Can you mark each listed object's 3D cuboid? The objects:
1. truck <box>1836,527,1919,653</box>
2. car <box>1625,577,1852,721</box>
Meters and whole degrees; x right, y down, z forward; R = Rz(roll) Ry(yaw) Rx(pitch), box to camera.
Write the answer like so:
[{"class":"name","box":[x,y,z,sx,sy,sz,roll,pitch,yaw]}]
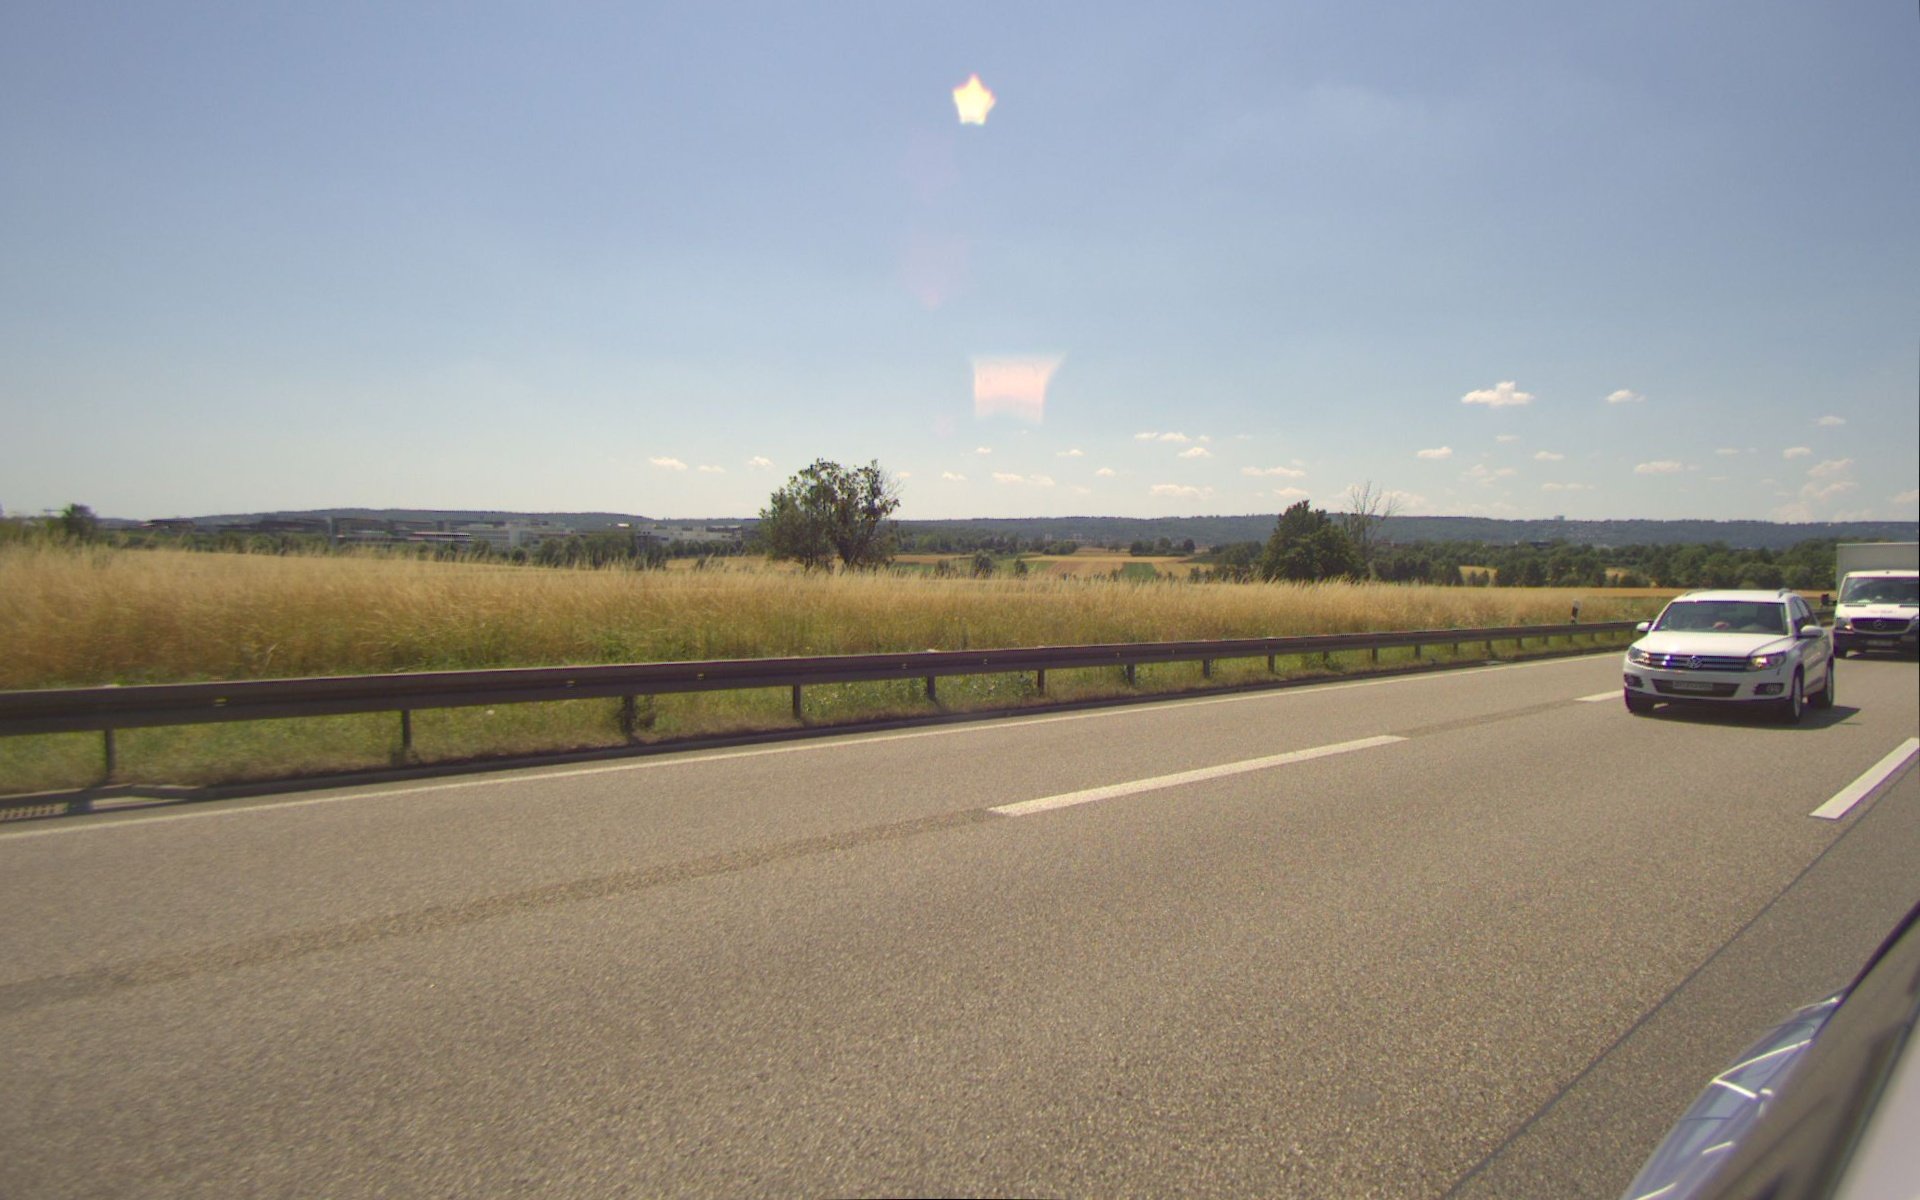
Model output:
[{"class":"truck","box":[25.435,-0.256,27.148,6.804,3.066,2.440,0,0,-45]},{"class":"car","box":[10.686,0.560,13.778,4.103,1.666,1.834,0,0,-43]}]
